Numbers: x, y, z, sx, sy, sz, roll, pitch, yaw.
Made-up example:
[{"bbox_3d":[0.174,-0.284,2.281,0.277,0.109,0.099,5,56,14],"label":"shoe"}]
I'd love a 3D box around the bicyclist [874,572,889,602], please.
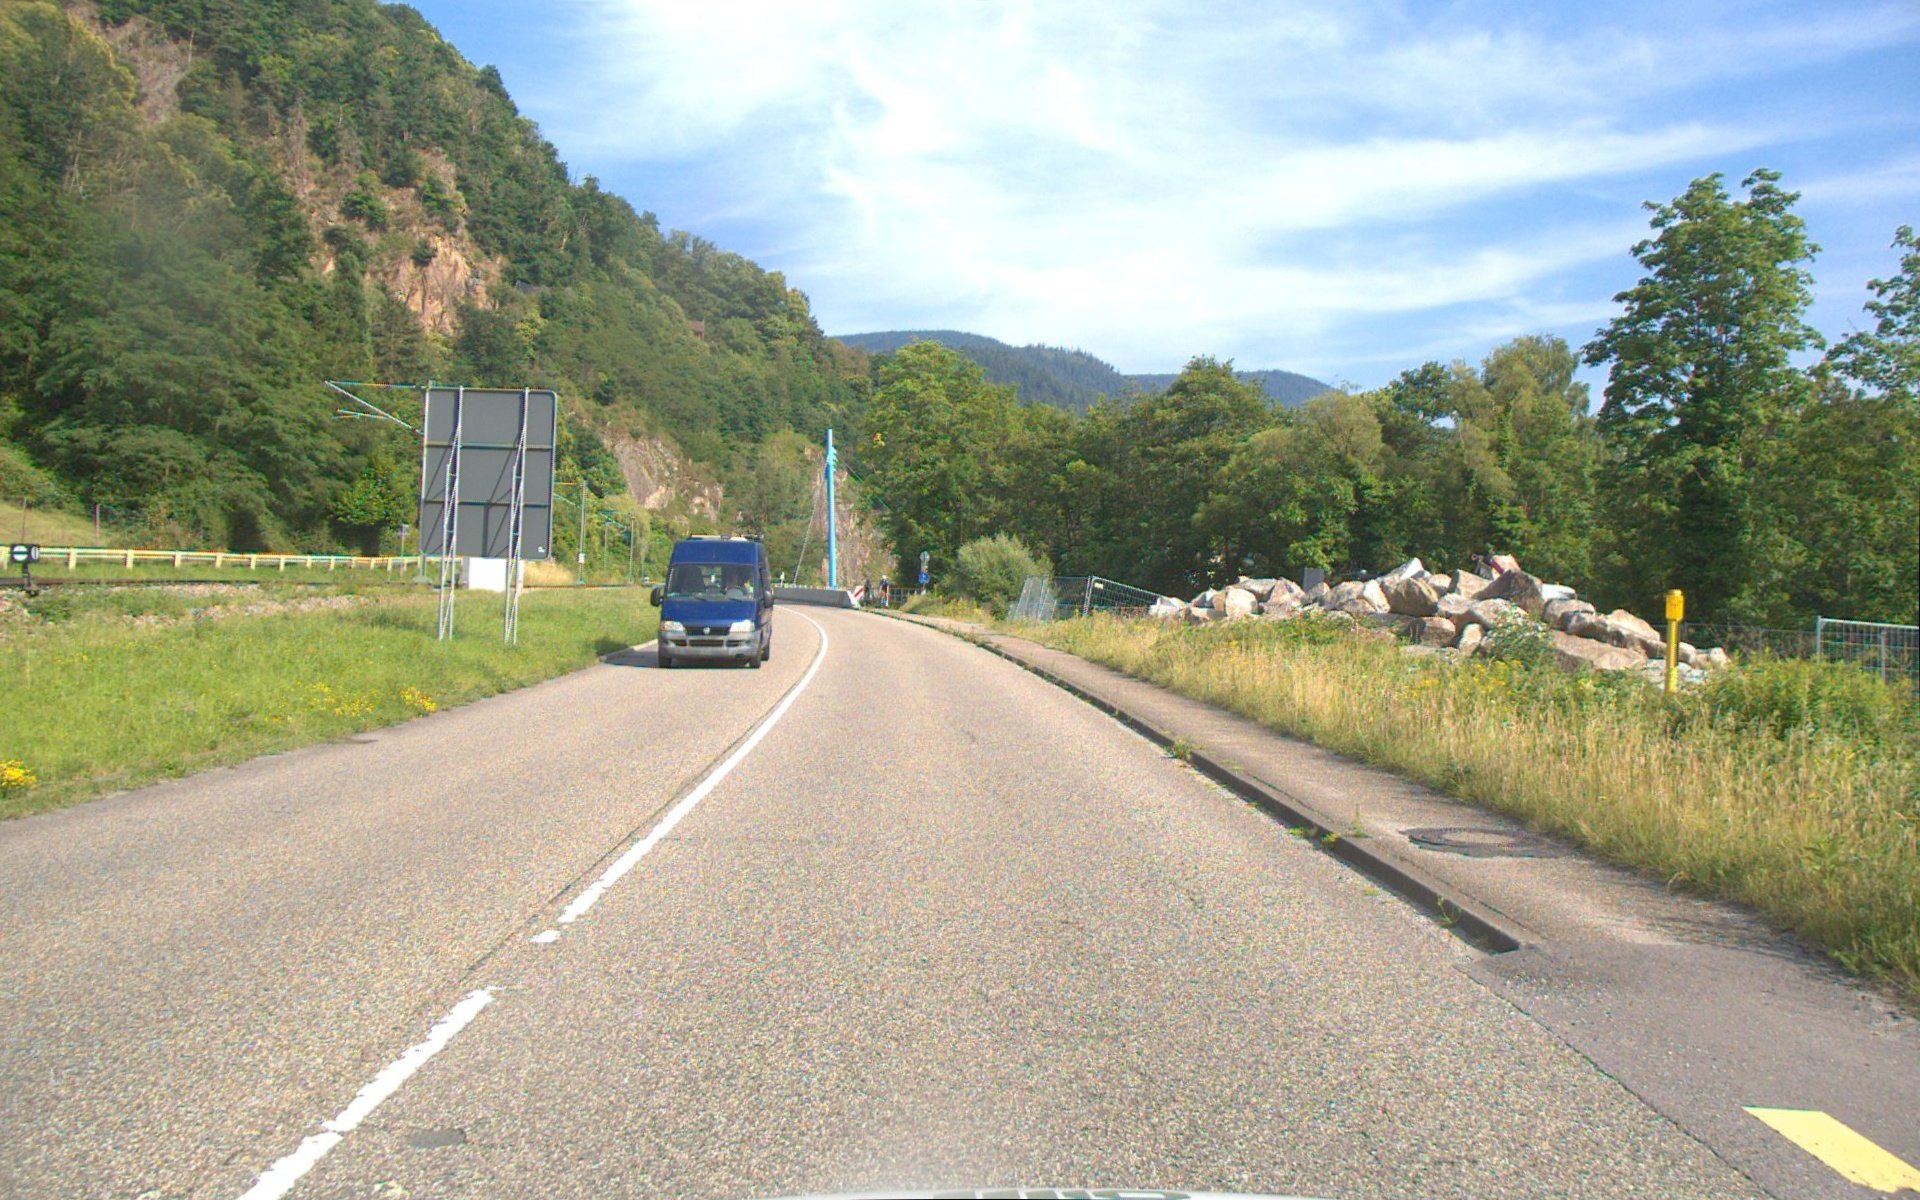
[{"bbox_3d":[-4.438,-0.739,93.211,0.629,1.682,0.807,4,0,-9],"label":"bicyclist"}]

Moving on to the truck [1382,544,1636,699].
[{"bbox_3d":[15.294,0.520,47.009,3.046,3.847,8.626,3,0,-9],"label":"truck"}]

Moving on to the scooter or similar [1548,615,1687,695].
[{"bbox_3d":[18.283,1.489,46.152,1.955,2.049,3.995,1,0,-6],"label":"scooter or similar"}]

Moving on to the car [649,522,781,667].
[{"bbox_3d":[-4.794,-0.129,33.110,2.084,2.661,5.476,0,1,-3],"label":"car"}]

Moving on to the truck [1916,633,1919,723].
[{"bbox_3d":[21.381,0.713,29.860,3.040,3.847,8.643,3,0,-1],"label":"truck"}]

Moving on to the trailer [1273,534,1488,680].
[{"bbox_3d":[13.977,0.237,56.152,3.303,4.349,9.888,3,-1,-9],"label":"trailer"}]

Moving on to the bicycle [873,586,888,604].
[{"bbox_3d":[-4.476,-0.270,93.229,0.636,0.958,1.844,4,0,-9],"label":"bicycle"}]
